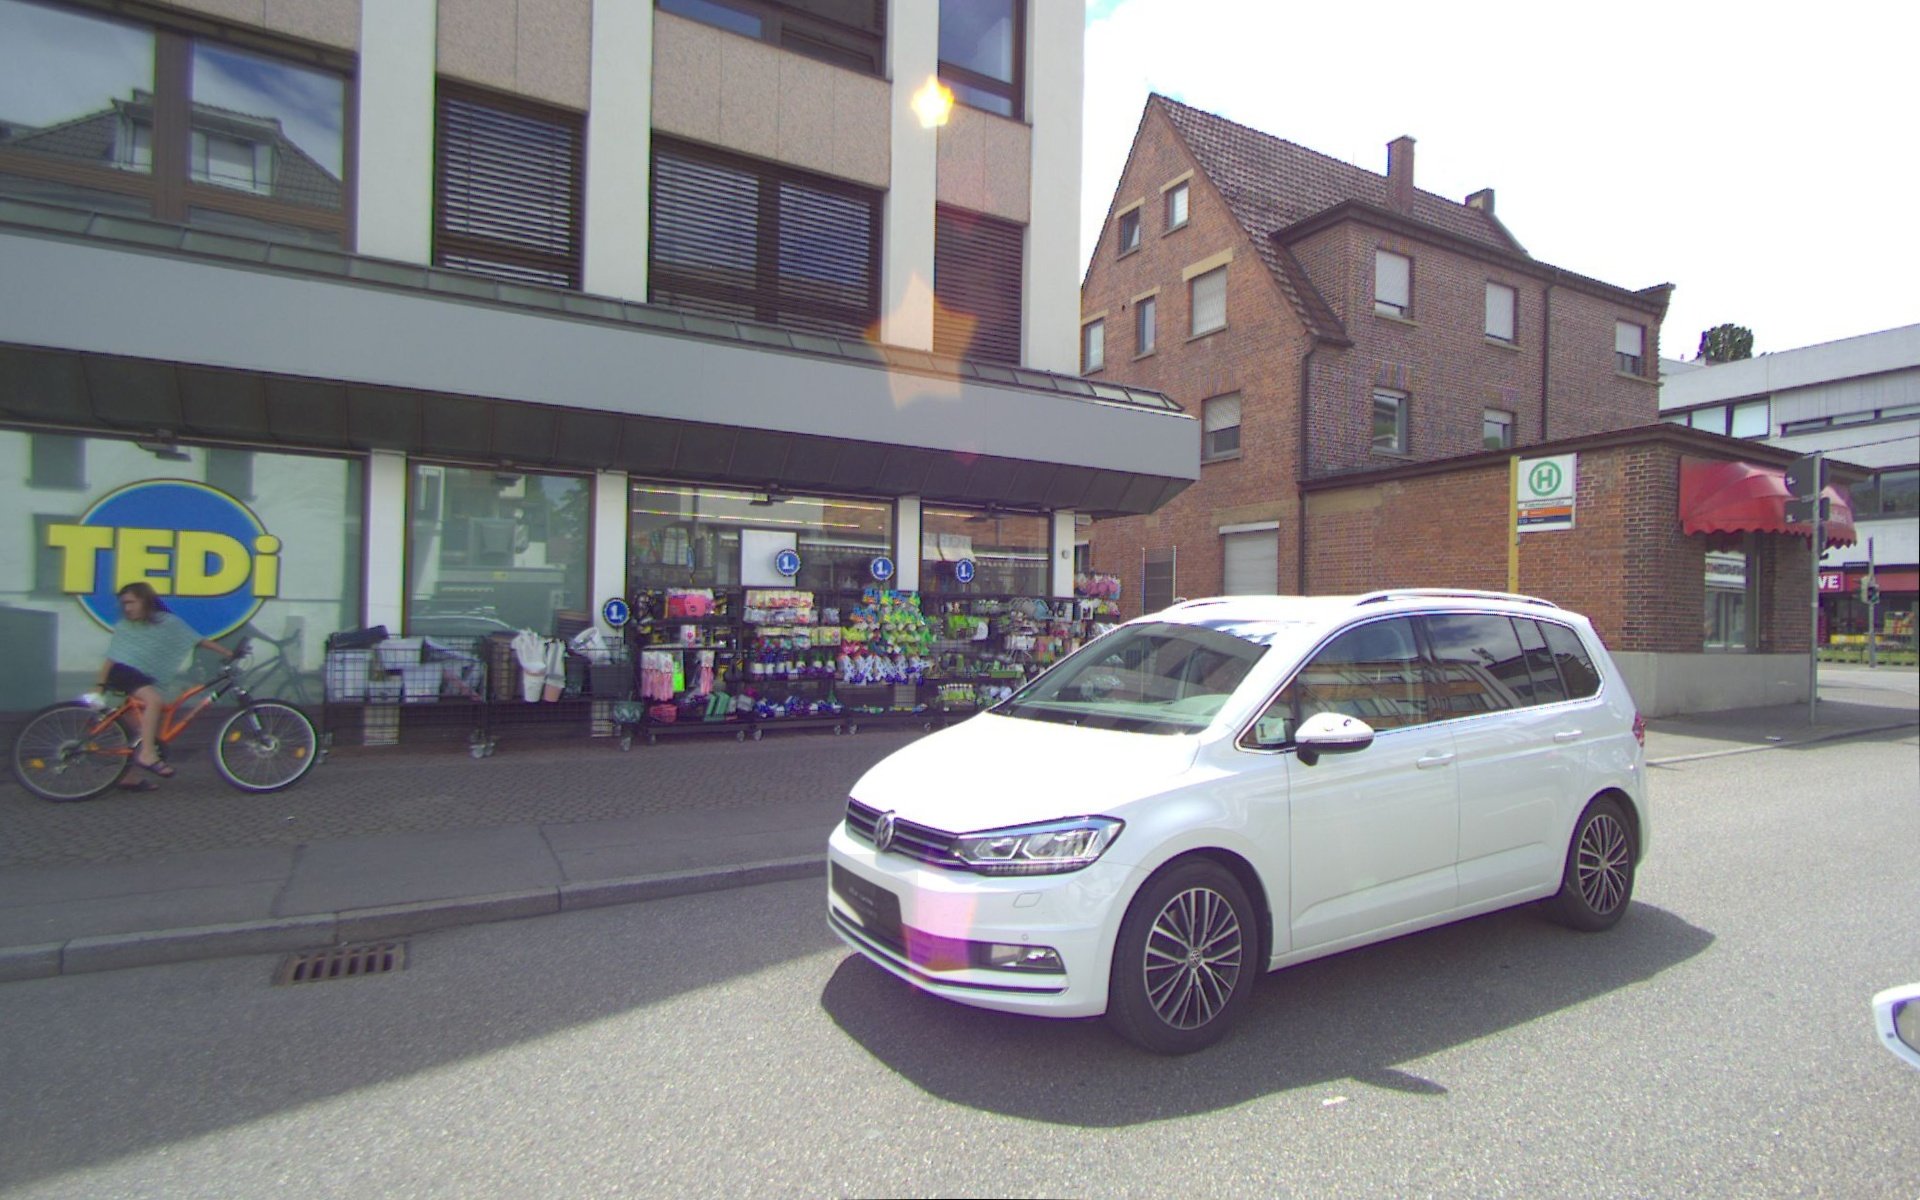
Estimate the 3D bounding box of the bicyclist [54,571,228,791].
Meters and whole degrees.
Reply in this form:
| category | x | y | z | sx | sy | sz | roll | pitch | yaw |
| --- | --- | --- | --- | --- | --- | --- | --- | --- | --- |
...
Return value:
| category | x | y | z | sx | sy | sz | roll | pitch | yaw |
| --- | --- | --- | --- | --- | --- | --- | --- | --- | --- |
| bicyclist | -5.446 | 0.515 | 6.728 | 0.753 | 1.355 | 0.664 | 3 | 2 | -30 |

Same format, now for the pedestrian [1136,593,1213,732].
| category | x | y | z | sx | sy | sz | roll | pitch | yaw |
| --- | --- | --- | --- | --- | --- | --- | --- | --- | --- |
| pedestrian | 2.579 | 0.737 | 12.048 | 0.757 | 1.579 | 0.574 | 3 | 0 | 20 |

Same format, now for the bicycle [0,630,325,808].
| category | x | y | z | sx | sy | sz | roll | pitch | yaw |
| --- | --- | --- | --- | --- | --- | --- | --- | --- | --- |
| bicycle | -5.321 | 0.773 | 6.756 | 1.714 | 1.064 | 0.441 | 3 | 2 | -30 |

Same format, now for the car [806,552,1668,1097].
| category | x | y | z | sx | sy | sz | roll | pitch | yaw |
| --- | --- | --- | --- | --- | --- | --- | --- | --- | --- |
| car | 1.489 | 0.750 | 4.876 | 4.075 | 1.634 | 1.765 | 2 | -3 | -32 |
